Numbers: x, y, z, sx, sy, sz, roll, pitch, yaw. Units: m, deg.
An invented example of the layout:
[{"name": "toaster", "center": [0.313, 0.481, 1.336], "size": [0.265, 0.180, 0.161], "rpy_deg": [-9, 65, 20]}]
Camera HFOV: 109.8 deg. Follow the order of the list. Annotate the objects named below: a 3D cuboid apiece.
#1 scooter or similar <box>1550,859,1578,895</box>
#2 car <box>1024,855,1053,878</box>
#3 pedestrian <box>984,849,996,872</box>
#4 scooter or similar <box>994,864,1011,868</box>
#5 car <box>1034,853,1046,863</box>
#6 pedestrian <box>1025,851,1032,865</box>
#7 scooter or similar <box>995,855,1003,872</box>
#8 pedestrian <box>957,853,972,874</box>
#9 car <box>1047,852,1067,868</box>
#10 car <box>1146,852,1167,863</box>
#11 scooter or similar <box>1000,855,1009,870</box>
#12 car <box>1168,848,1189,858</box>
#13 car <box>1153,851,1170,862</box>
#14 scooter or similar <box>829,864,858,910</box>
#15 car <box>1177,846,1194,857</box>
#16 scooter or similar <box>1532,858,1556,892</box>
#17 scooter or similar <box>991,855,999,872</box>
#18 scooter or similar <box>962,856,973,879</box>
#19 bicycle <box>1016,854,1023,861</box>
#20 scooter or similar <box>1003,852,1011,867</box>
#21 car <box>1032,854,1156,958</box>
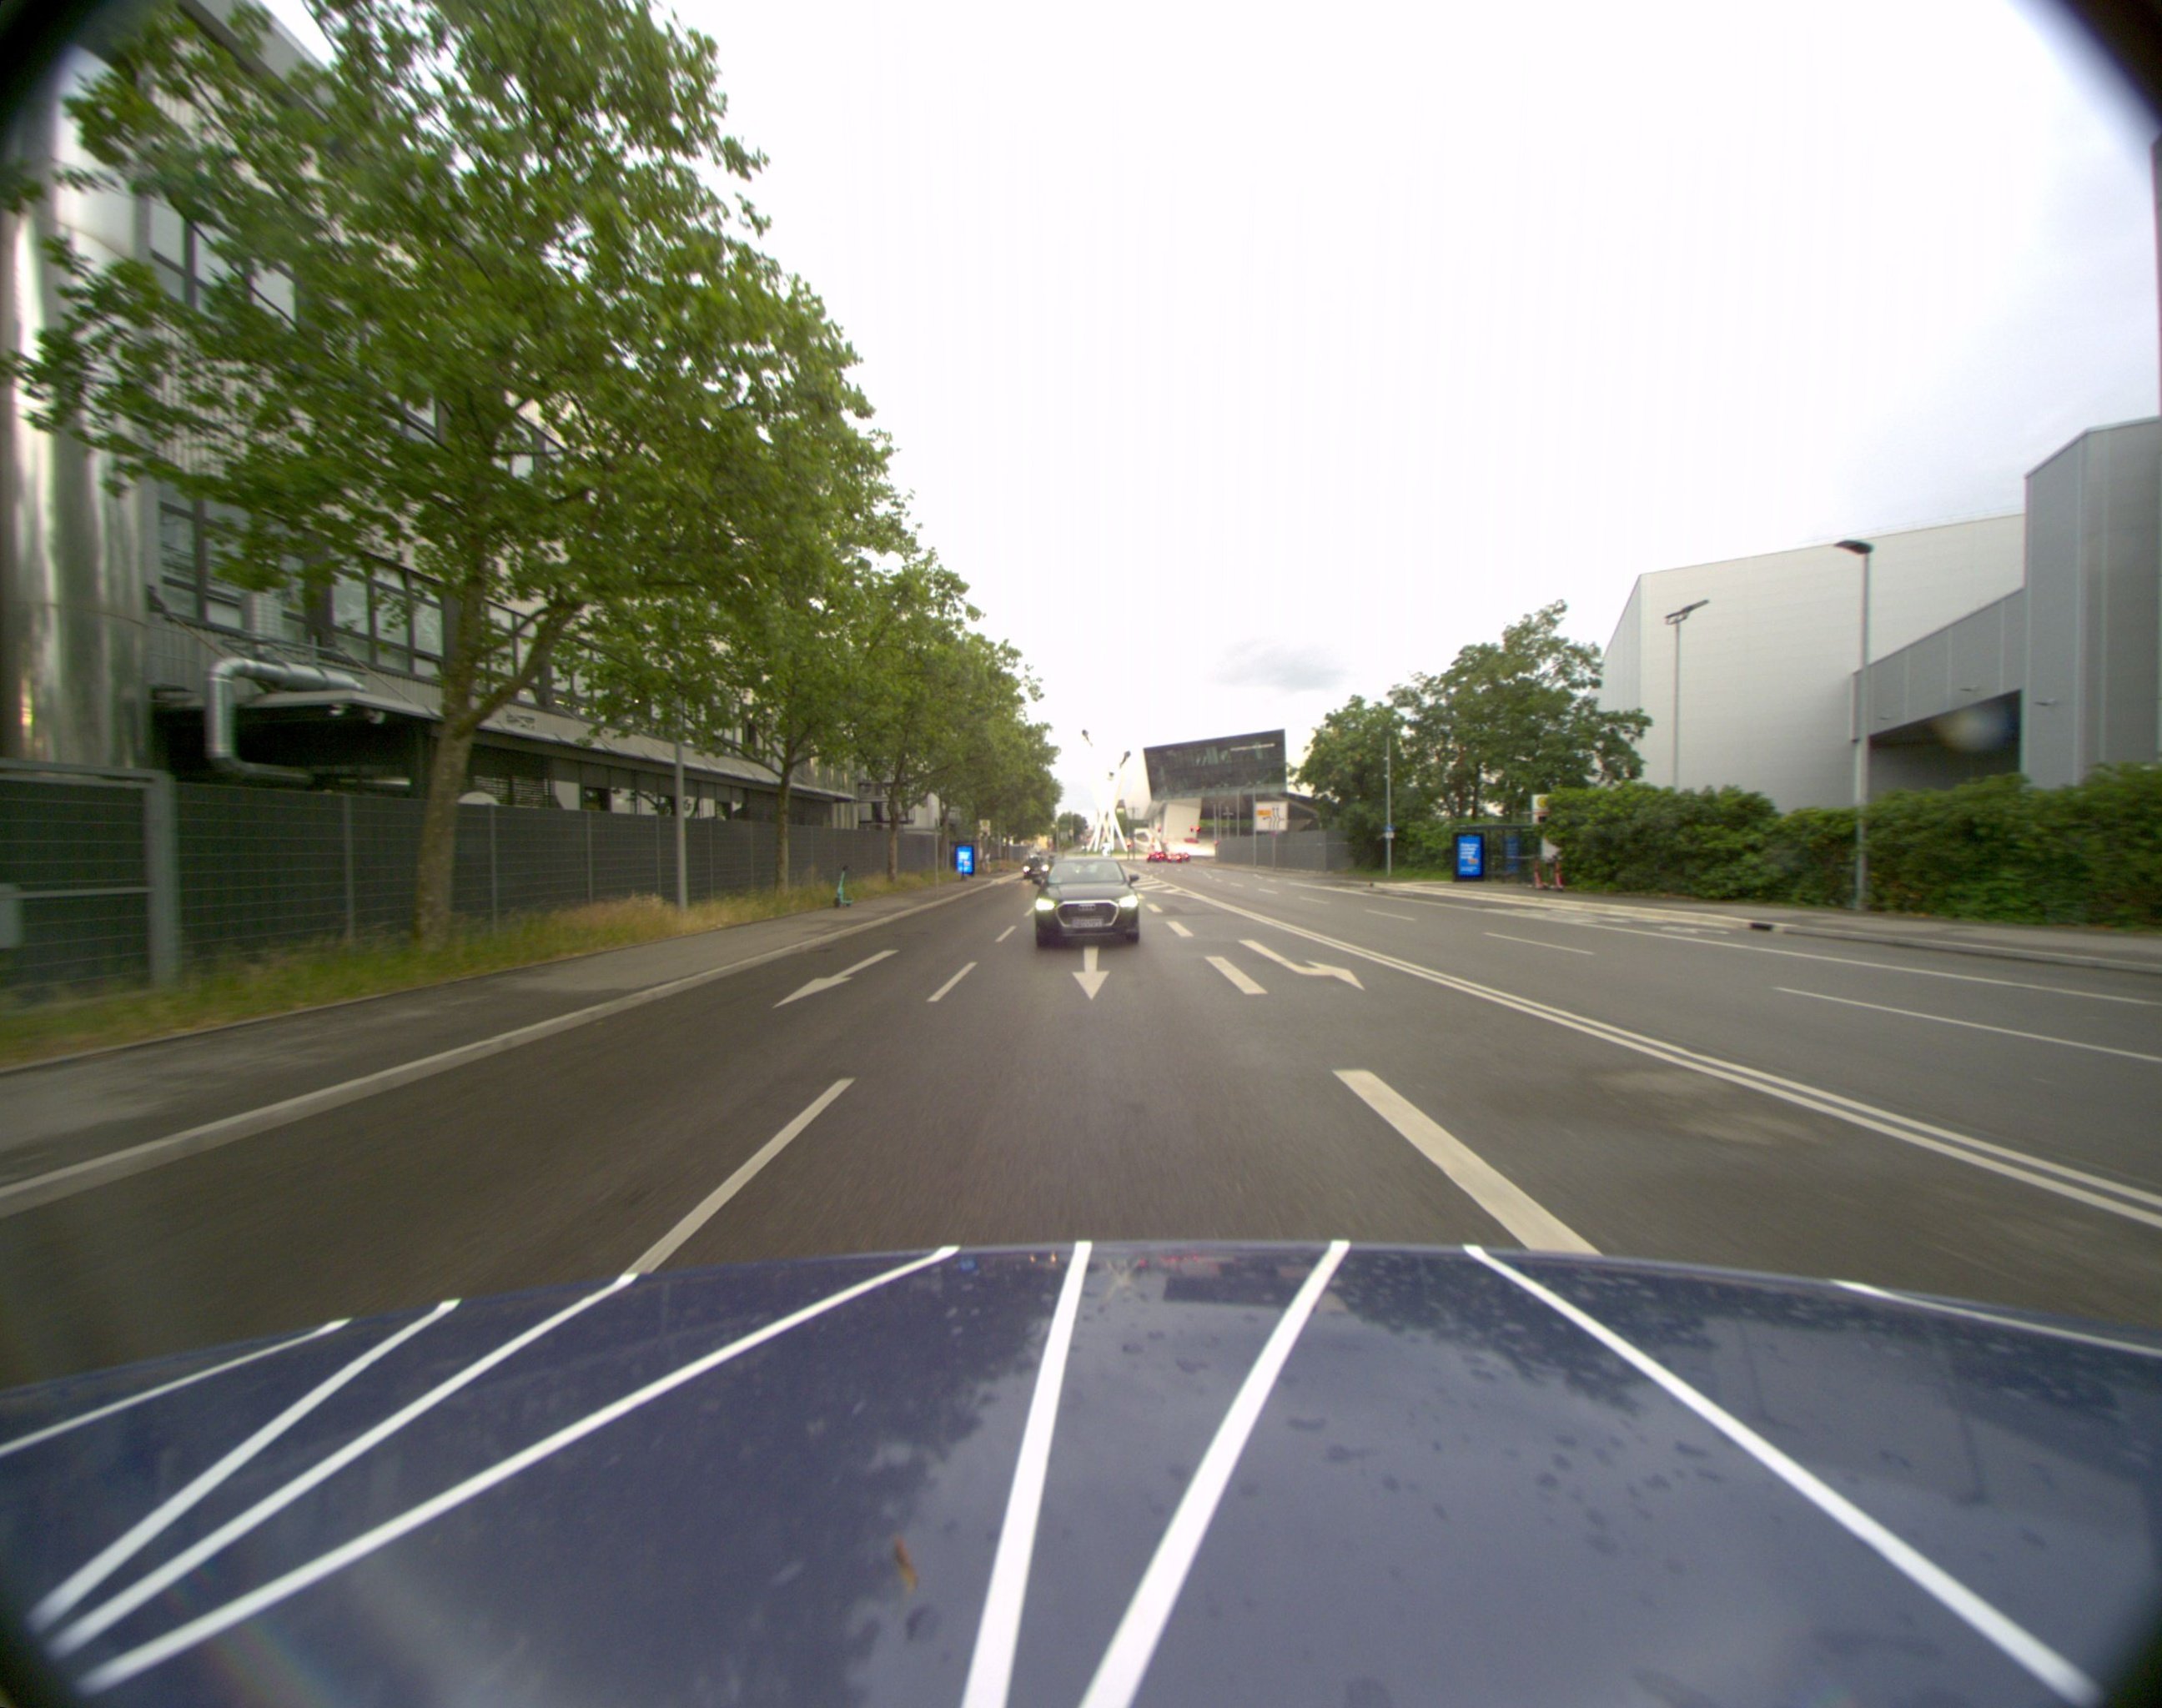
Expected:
[{"name": "scooter or similar", "center": [16.408, 0.768, 25.821], "size": [0.379, 1.174, 1.379], "rpy_deg": [0, 1, 14]}, {"name": "car", "center": [-2.863, 0.797, 51.647], "size": [1.881, 1.485, 4.075], "rpy_deg": [0, 0, -3]}, {"name": "pedestrian", "center": [-6.778, 0.506, 56.884], "size": [0.778, 1.700, 0.729], "rpy_deg": [-1, 1, 0]}, {"name": "scooter or similar", "center": [-7.219, 1.124, 69.751], "size": [1.184, 0.309, 1.200], "rpy_deg": [-1, 1, -28]}, {"name": "car", "center": [-7.206, 0.670, 133.277], "size": [1.951, 1.610, 4.072], "rpy_deg": [0, 0, -1]}, {"name": "pedestrian", "center": [-6.056, 0.497, 87.983], "size": [0.723, 1.610, 0.833], "rpy_deg": [2, 2, -1]}, {"name": "scooter or similar", "center": [-6.514, 0.731, 60.584], "size": [0.437, 1.288, 1.300], "rpy_deg": [-1, 1, 4]}, {"name": "pedestrian", "center": [-8.118, 0.641, 52.886], "size": [0.932, 1.408, 0.698], "rpy_deg": [-1, 1, 0]}, {"name": "car", "center": [-2.308, 0.589, 74.640], "size": [1.842, 1.444, 4.785], "rpy_deg": [-2, 0, -1]}, {"name": "car", "center": [11.148, 0.529, 111.506], "size": [2.255, 1.469, 3.884], "rpy_deg": [0, 1, 18]}, {"name": "scooter or similar", "center": [-6.474, 0.702, 64.678], "size": [0.437, 1.288, 1.368], "rpy_deg": [0, 1, 8]}, {"name": "car", "center": [14.051, -0.175, 109.526], "size": [2.267, 1.469, 4.052], "rpy_deg": [0, 1, 18]}, {"name": "car", "center": [12.376, 0.417, 116.567], "size": [1.878, 1.641, 3.857], "rpy_deg": [0, 0, 17]}, {"name": "scooter or similar", "center": [-6.834, 0.940, 21.904], "size": [0.329, 1.262, 1.109], "rpy_deg": [0, 1, 9]}, {"name": "car", "center": [16.052, -0.430, 116.719], "size": [1.861, 1.641, 3.793], "rpy_deg": [0, 0, 20]}, {"name": "scooter or similar", "center": [16.572, 0.740, 27.209], "size": [0.389, 1.173, 1.251], "rpy_deg": [0, 1, 14]}, {"name": "scooter or similar", "center": [-6.697, 0.717, 59.167], "size": [0.437, 1.288, 1.300], "rpy_deg": [-1, 1, 4]}, {"name": "scooter or similar", "center": [-6.606, 0.762, 44.262], "size": [0.329, 1.301, 1.246], "rpy_deg": [0, 1, 5]}, {"name": "bicycle", "center": [-7.799, 0.433, 97.123], "size": [0.727, 0.870, 1.904], "rpy_deg": [-1, 1, 0]}, {"name": "scooter or similar", "center": [-6.590, 0.495, 67.718], "size": [0.437, 1.278, 1.301], "rpy_deg": [0, 1, 8]}, {"name": "car", "center": [0.167, 0.833, 14.877], "size": [1.951, 1.609, 5.276], "rpy_deg": [-2, 0, -1]}]
